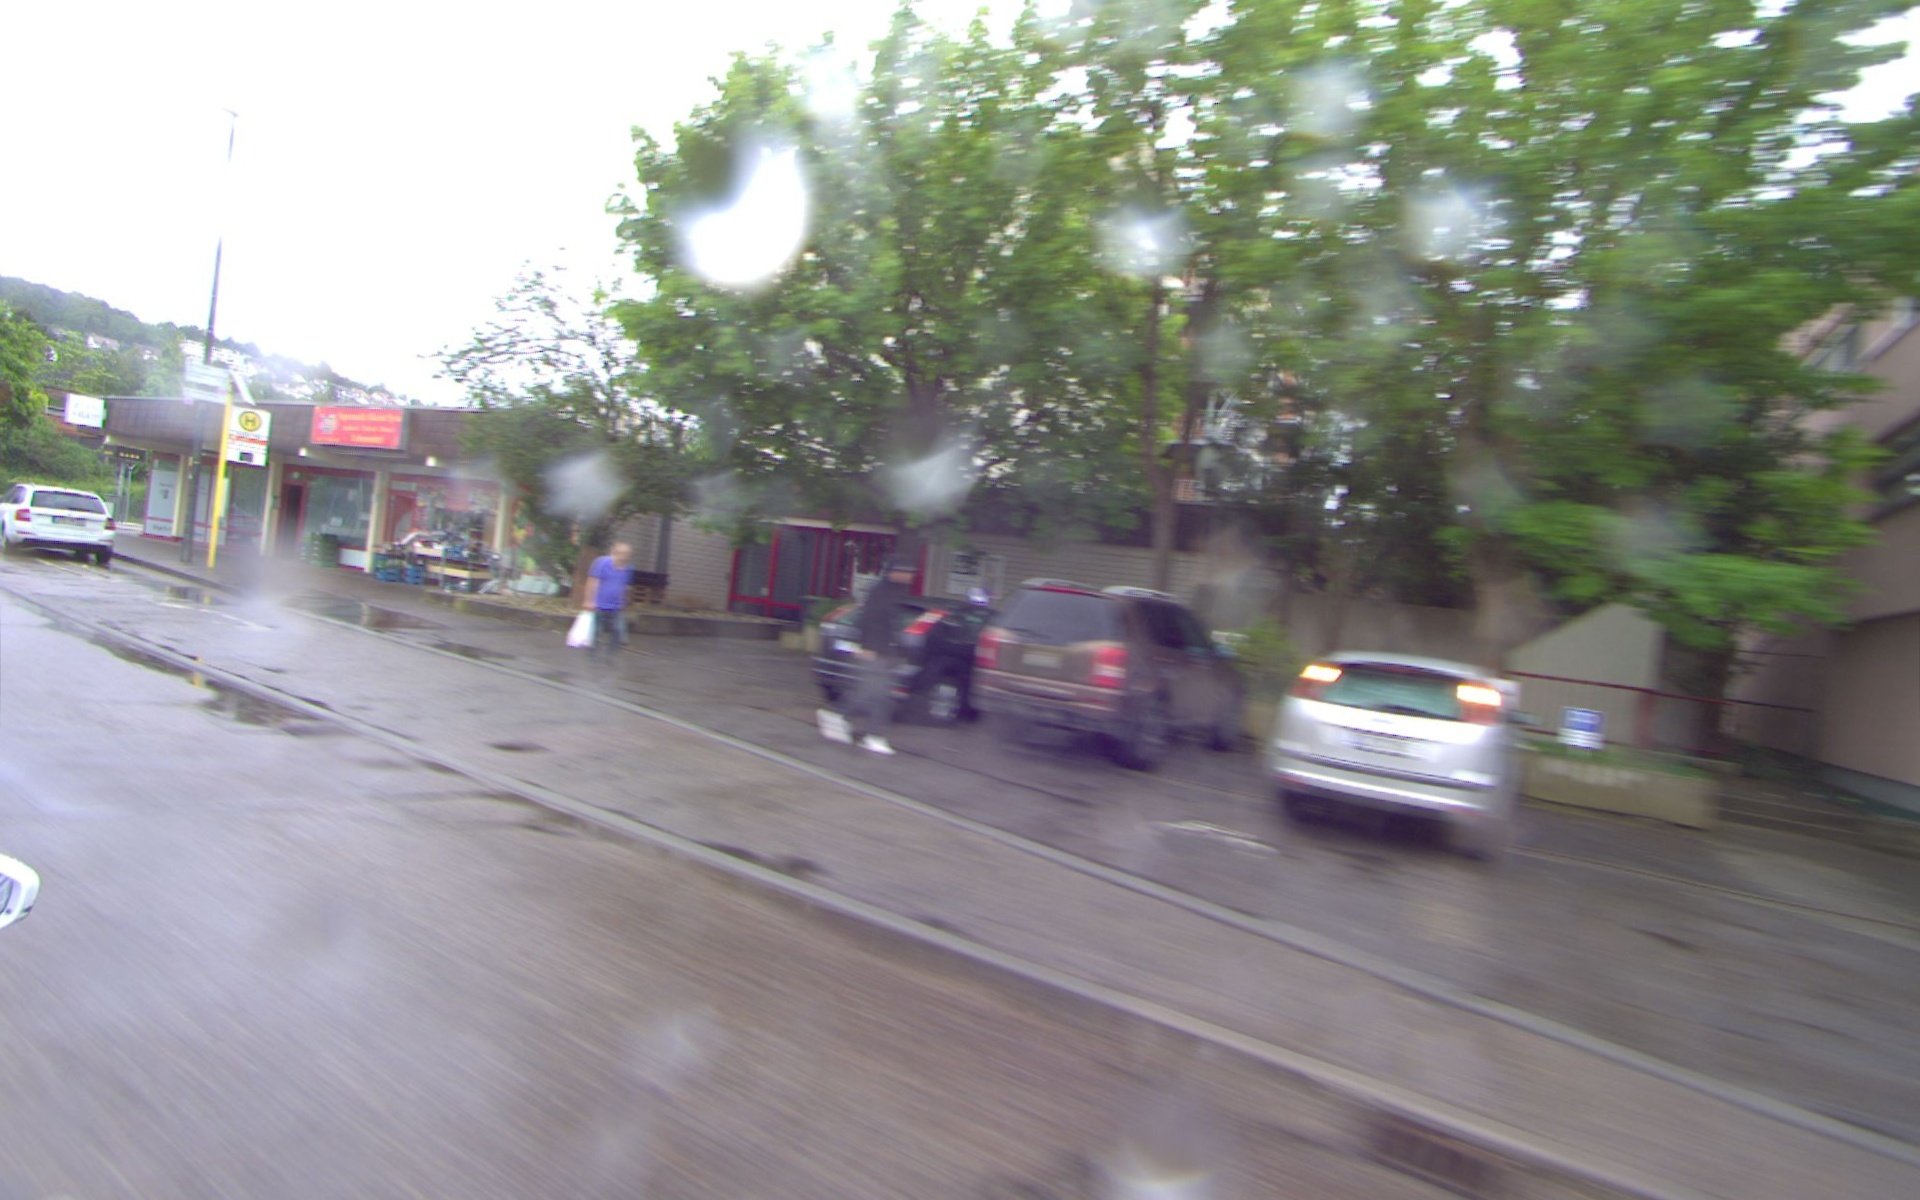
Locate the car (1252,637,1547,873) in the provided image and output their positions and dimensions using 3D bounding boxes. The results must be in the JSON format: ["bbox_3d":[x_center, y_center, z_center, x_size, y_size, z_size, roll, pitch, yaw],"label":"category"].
[{"bbox_3d":[4.214,1.239,9.253,1.718,1.465,3.989,7,1,33],"label":"car"}]

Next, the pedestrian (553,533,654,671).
[{"bbox_3d":[-4.870,0.037,13.753,0.747,1.760,0.876,8,2,30],"label":"pedestrian"}]

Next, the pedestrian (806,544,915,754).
[{"bbox_3d":[-0.920,0.449,9.492,0.781,1.844,0.710,5,0,2],"label":"pedestrian"}]

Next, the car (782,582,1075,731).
[{"bbox_3d":[-0.219,0.728,13.136,1.772,1.472,4.153,7,0,31],"label":"car"}]

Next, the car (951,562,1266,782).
[{"bbox_3d":[1.880,0.773,11.497,1.846,1.894,4.096,7,1,33],"label":"car"}]

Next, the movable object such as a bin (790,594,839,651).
[{"bbox_3d":[-2.990,0.465,20.673,0.630,1.069,0.645,8,1,27],"label":"movable object such as a bin"}]

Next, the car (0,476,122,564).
[{"bbox_3d":[-19.771,-1.792,21.785,4.416,1.517,1.728,8,2,40],"label":"car"}]
